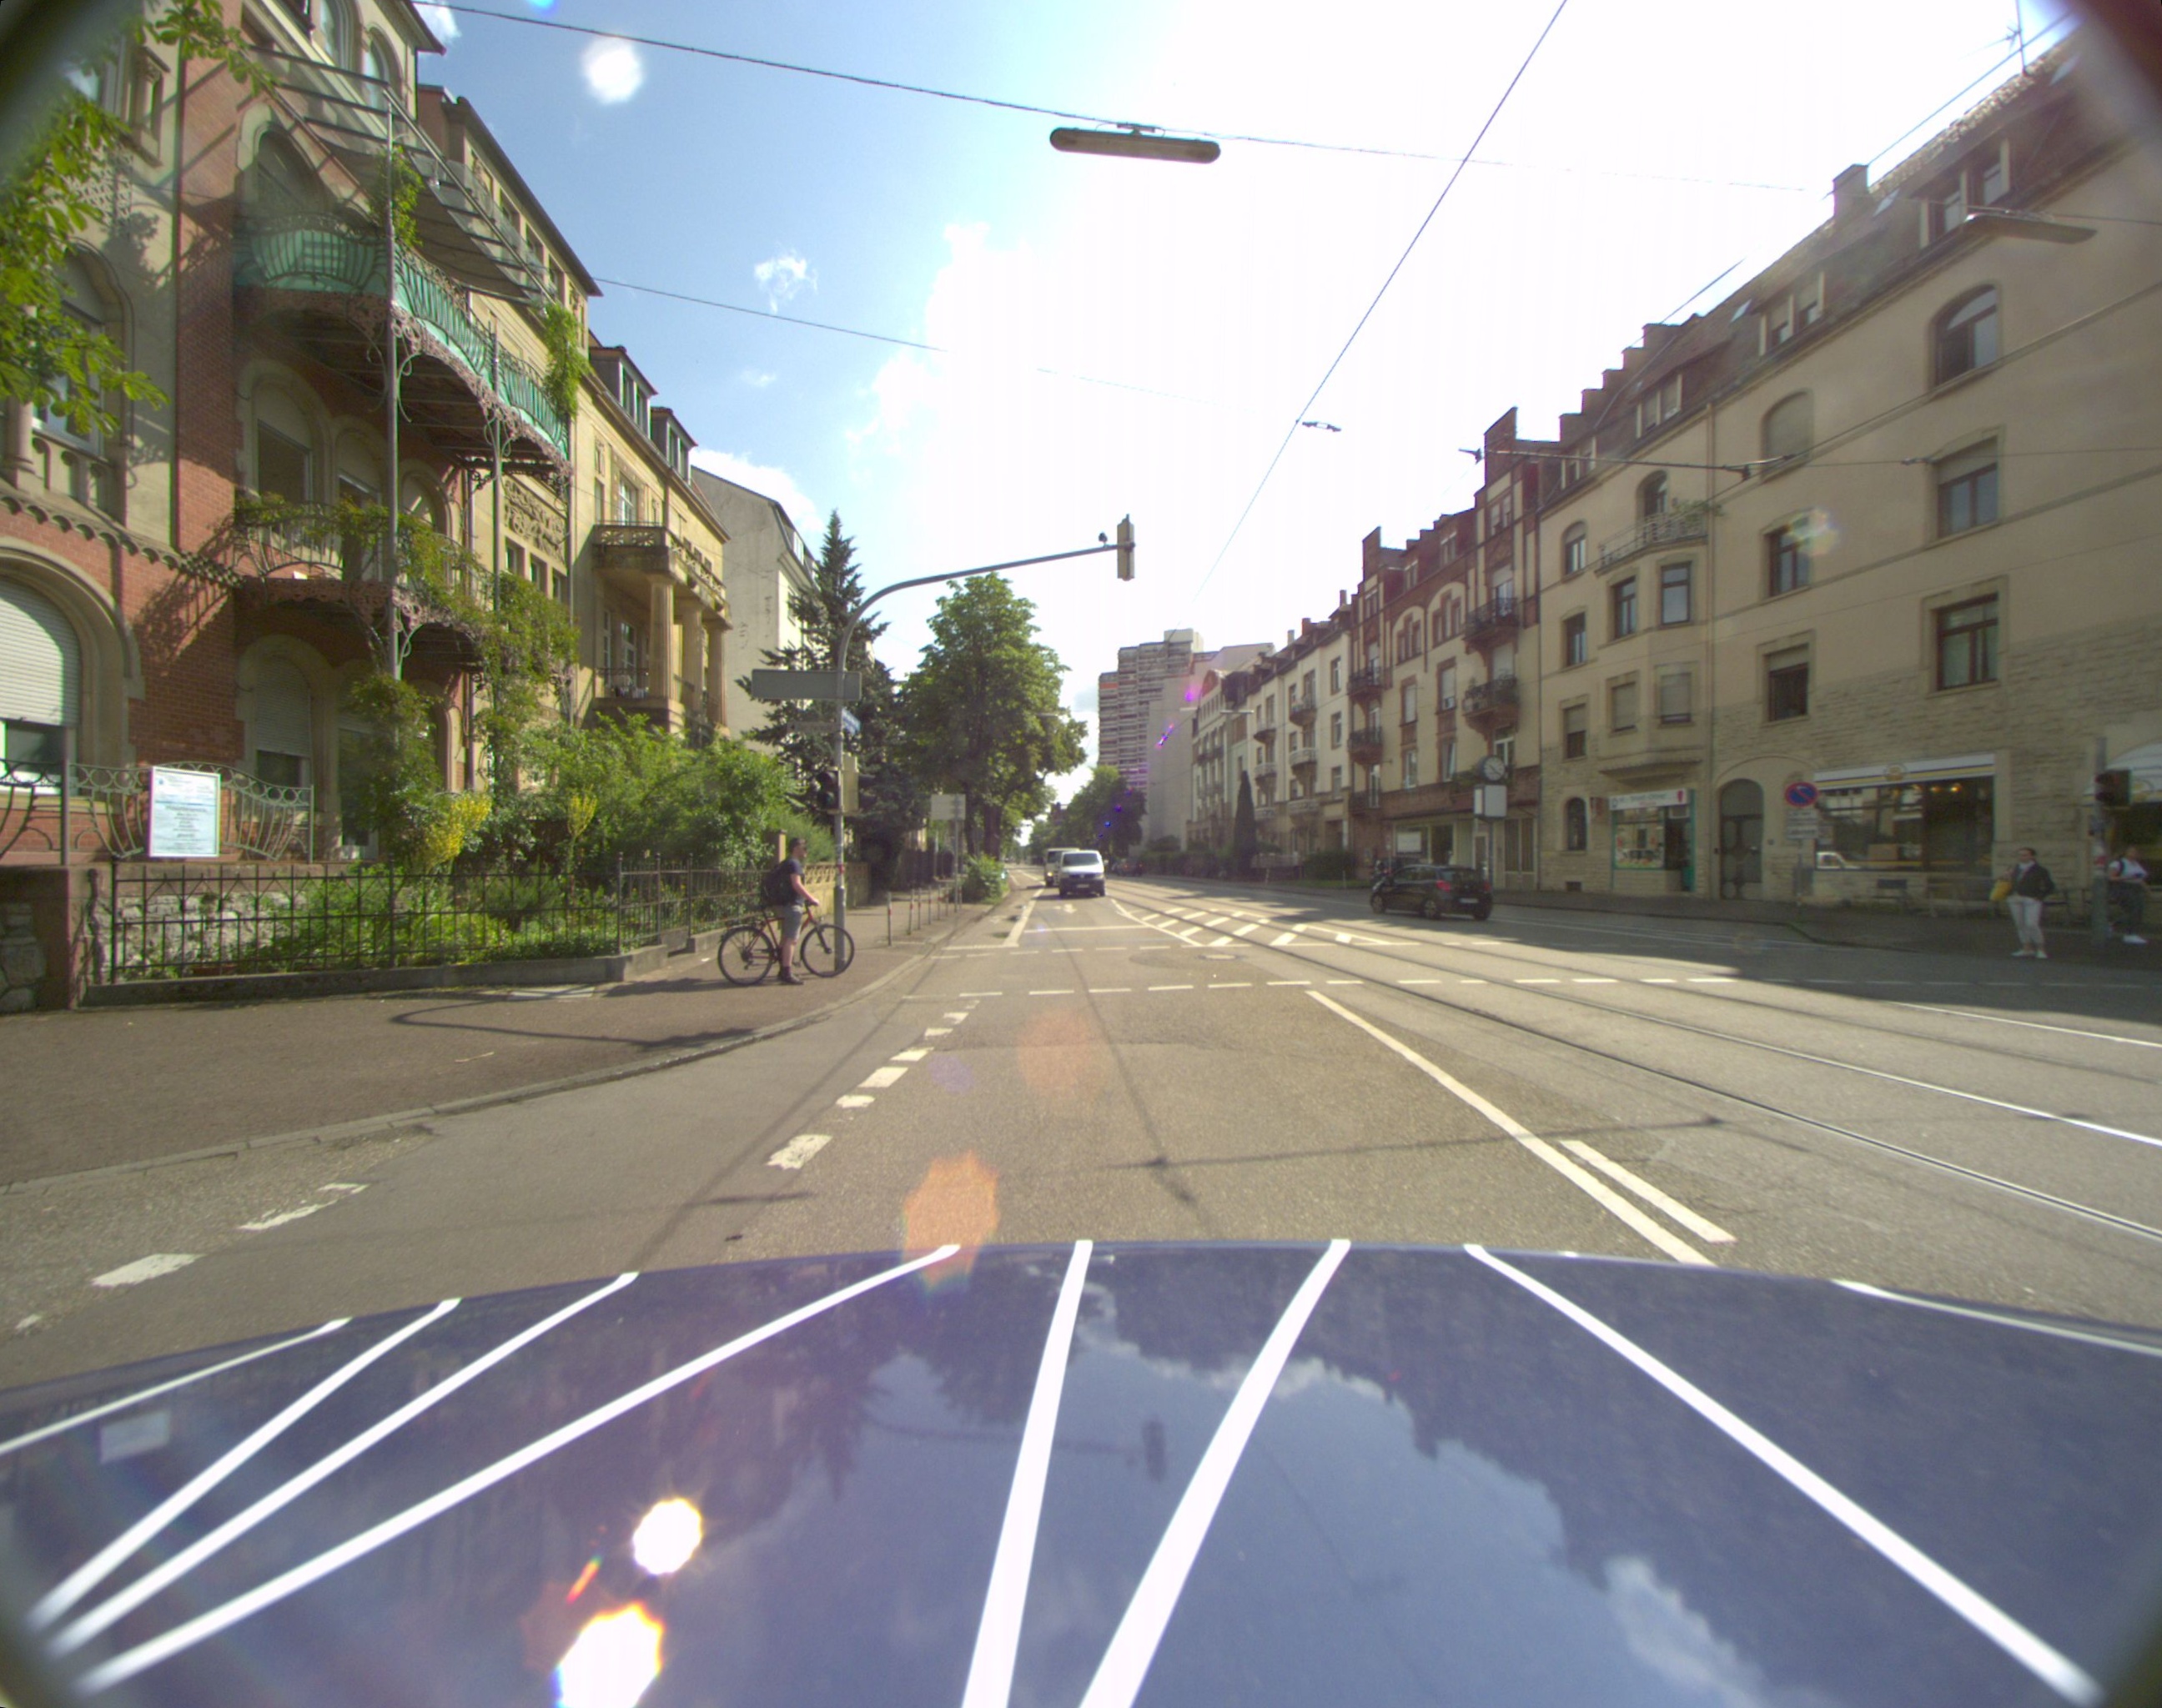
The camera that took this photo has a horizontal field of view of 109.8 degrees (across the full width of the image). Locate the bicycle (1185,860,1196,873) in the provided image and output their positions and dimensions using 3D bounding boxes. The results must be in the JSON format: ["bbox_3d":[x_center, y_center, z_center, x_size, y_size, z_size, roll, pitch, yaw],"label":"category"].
[{"bbox_3d":[9.011,1.023,62.332,0.587,0.980,1.872,-1,1,-1],"label":"bicycle"}]

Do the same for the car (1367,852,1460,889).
[{"bbox_3d":[15.118,0.744,34.666,3.454,1.478,1.706,-2,0,-4],"label":"car"}]

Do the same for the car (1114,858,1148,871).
[{"bbox_3d":[5.962,1.214,91.023,3.891,1.527,1.634,0,0,-4],"label":"car"}]

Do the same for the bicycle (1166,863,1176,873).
[{"bbox_3d":[8.104,1.230,68.426,0.587,0.792,1.872,-3,1,-1],"label":"bicycle"}]

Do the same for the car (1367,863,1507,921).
[{"bbox_3d":[9.380,0.962,20.335,1.630,1.379,3.432,1,0,-12],"label":"car"}]

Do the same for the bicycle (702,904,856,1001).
[{"bbox_3d":[-3.746,1.192,9.590,0.389,1.029,1.849,0,0,39],"label":"bicycle"}]

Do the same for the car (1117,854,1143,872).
[{"bbox_3d":[4.795,0.856,74.838,1.797,1.701,4.329,0,0,-6],"label":"car"}]

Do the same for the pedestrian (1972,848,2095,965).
[{"bbox_3d":[14.882,0.791,11.893,0.758,1.695,0.873,-5,1,-6],"label":"pedestrian"}]

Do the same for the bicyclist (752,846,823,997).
[{"bbox_3d":[-3.726,0.804,9.614,0.736,1.808,0.818,0,0,-28],"label":"bicyclist"}]

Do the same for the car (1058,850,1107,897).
[{"bbox_3d":[0.001,0.779,32.637,1.832,1.855,4.844,-1,0,-3],"label":"car"}]

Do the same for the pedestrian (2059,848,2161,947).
[{"bbox_3d":[17.225,0.698,12.599,0.696,1.533,0.963,-5,1,-7],"label":"pedestrian"}]

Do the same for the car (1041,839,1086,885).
[{"bbox_3d":[-1.103,0.459,45.238,2.169,2.572,5.660,-1,0,-6],"label":"car"}]

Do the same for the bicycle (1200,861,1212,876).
[{"bbox_3d":[9.503,1.098,57.939,0.540,1.024,1.872,-1,1,-1],"label":"bicycle"}]

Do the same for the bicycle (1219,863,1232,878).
[{"bbox_3d":[9.925,1.133,52.159,0.525,0.901,2.066,0,2,2],"label":"bicycle"}]
